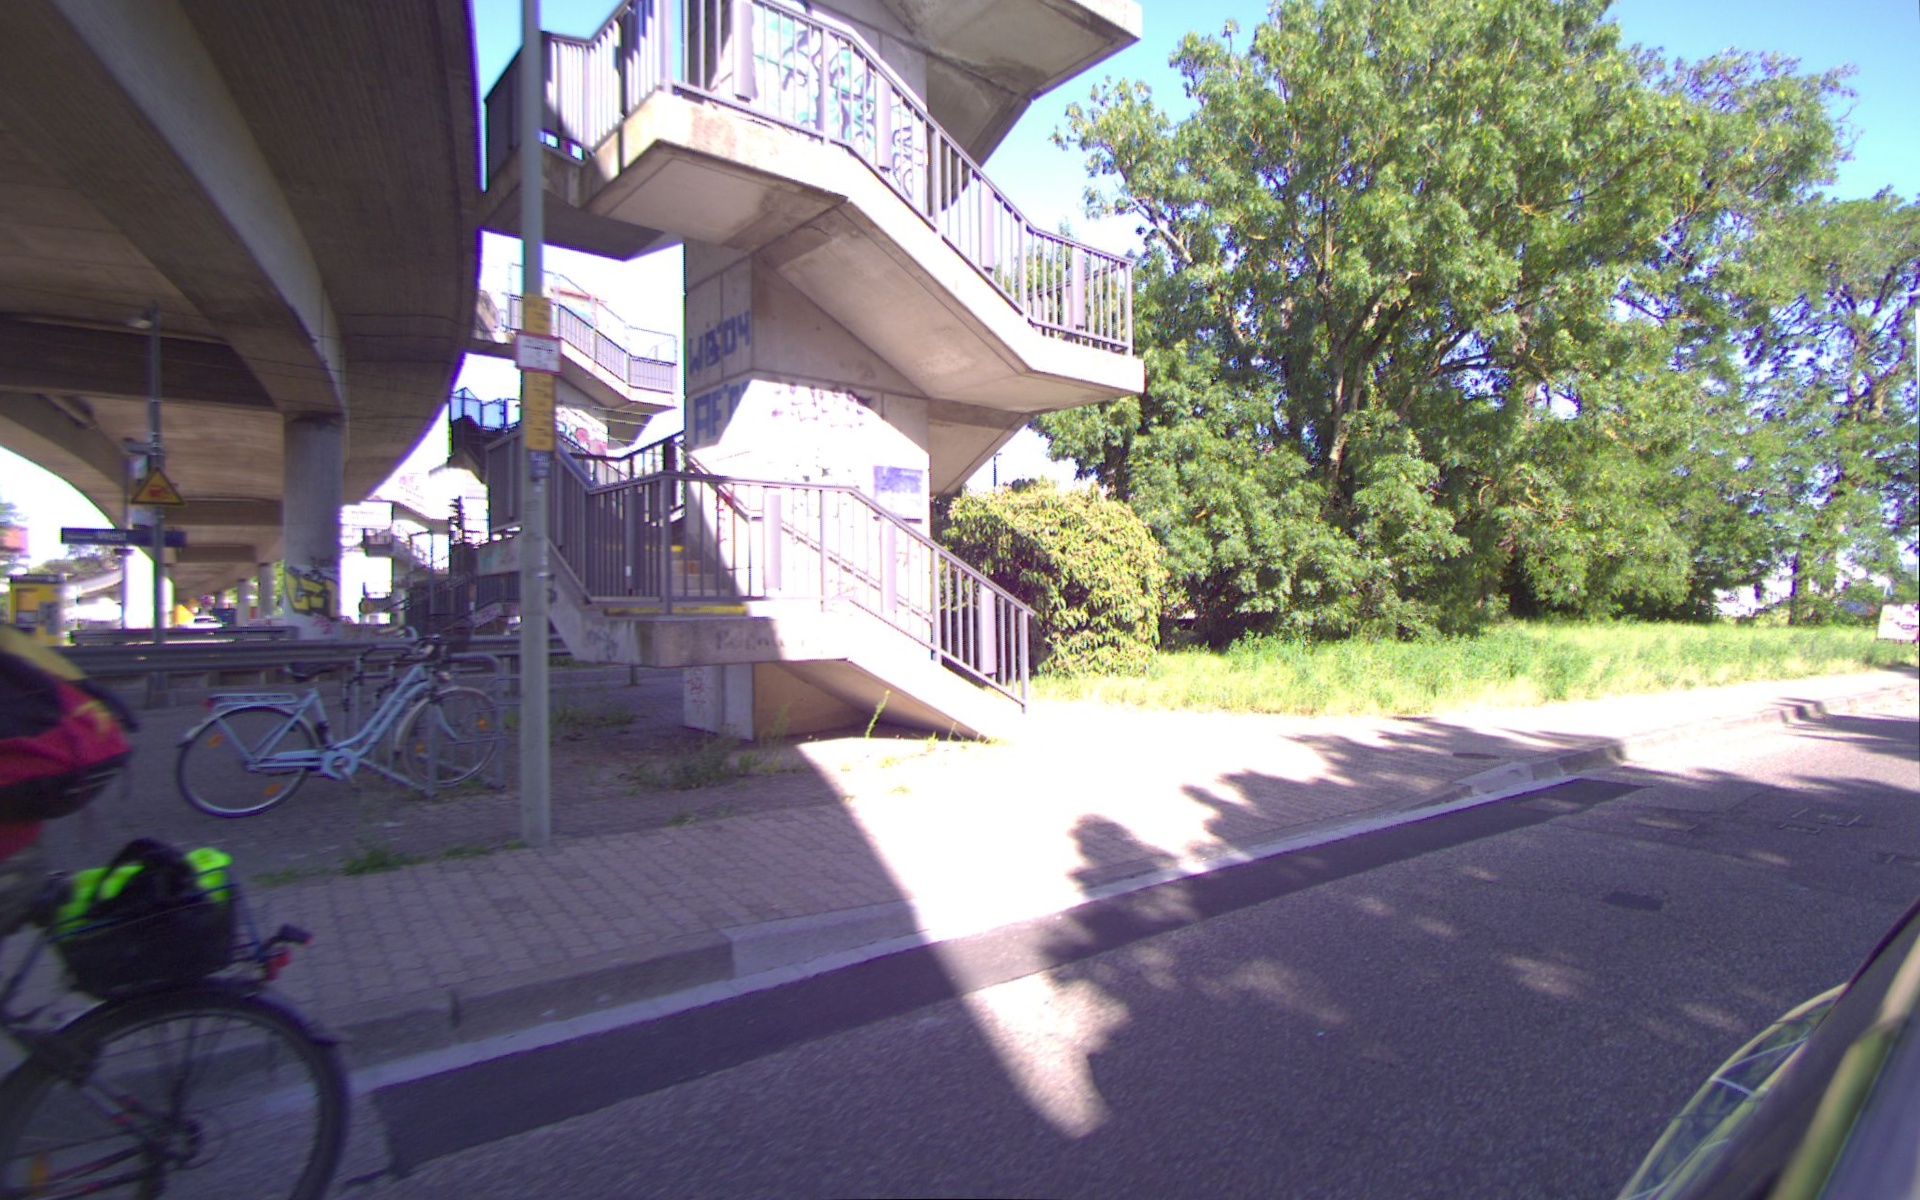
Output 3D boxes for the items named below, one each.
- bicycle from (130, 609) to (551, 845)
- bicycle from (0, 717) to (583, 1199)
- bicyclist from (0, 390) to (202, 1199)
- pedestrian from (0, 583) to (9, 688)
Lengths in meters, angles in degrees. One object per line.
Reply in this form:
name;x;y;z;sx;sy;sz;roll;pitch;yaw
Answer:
bicycle;-3.710;0.671;6.251;0.597;1.197;2.146;0;0;44
bicycle;-1.922;0.869;1.867;2.152;1.065;0.842;0;-1;-42
bicyclist;-1.976;0.415;1.822;0.908;1.507;0.842;0;-1;-42
pedestrian;-19.225;0.690;19.832;0.821;2.039;0.894;0;-1;-42
